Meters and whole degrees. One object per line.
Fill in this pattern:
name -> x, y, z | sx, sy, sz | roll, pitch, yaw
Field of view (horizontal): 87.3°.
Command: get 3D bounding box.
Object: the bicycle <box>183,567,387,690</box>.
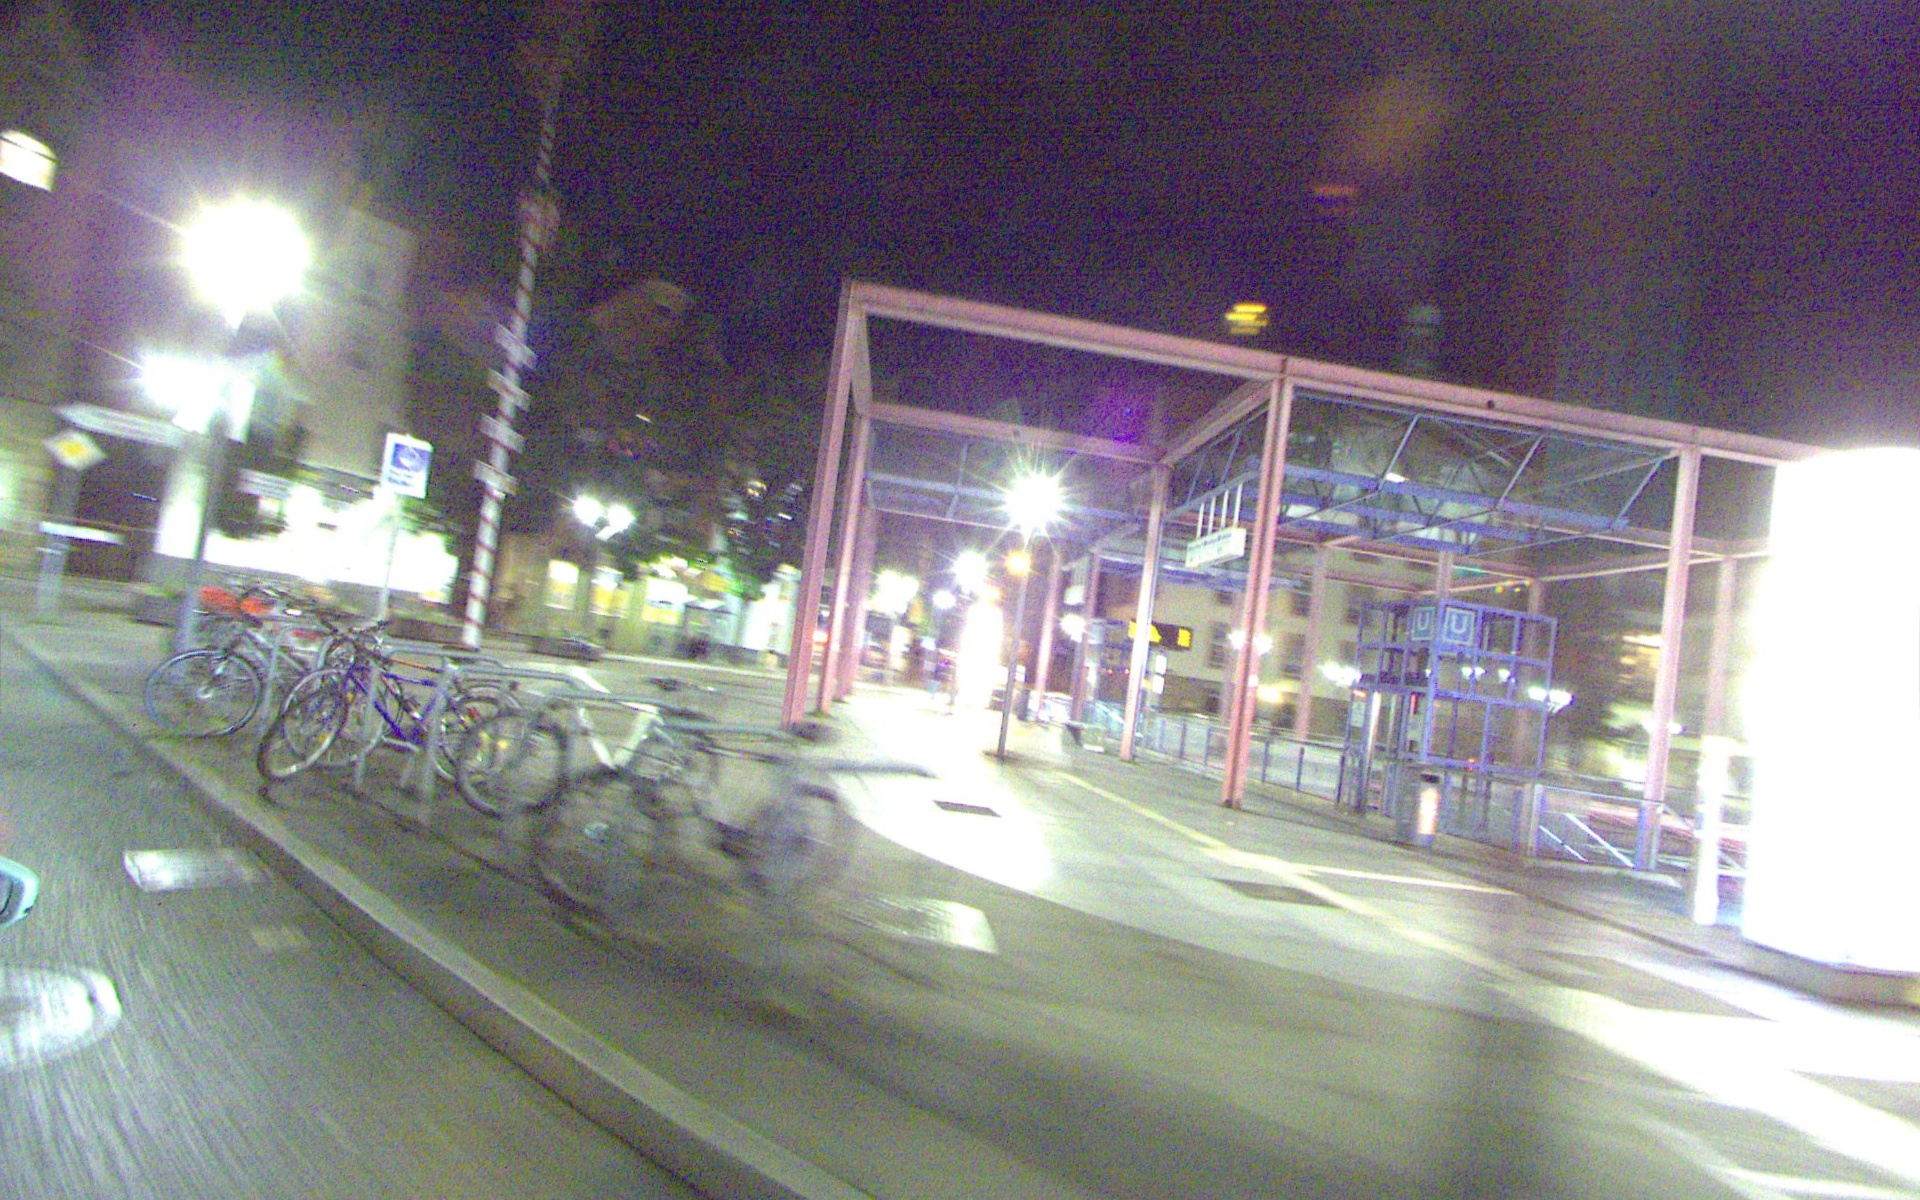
bicycle -> -7.818, 0.355, 11.716 | 0.575, 1.163, 1.770 | 6, -4, 44

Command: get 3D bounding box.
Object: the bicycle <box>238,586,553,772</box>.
bicycle -> -4.057, 0.626, 7.383 | 0.620, 1.146, 1.790 | 6, -4, 38

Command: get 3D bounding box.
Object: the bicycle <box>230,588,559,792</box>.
bicycle -> -3.675, 0.638, 6.666 | 0.633, 1.146, 1.655 | 6, -4, 39

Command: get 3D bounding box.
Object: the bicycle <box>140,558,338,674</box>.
bicycle -> -8.909, 0.228, 12.504 | 0.605, 1.163, 1.774 | 6, -4, 38

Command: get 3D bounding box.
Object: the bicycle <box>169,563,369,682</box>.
bicycle -> -8.305, 0.302, 12.165 | 0.574, 1.163, 1.774 | 6, -4, 38

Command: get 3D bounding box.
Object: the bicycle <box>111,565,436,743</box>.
bicycle -> -5.336, 0.471, 7.946 | 0.714, 1.146, 1.867 | 6, -4, 38

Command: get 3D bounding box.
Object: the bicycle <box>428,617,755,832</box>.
bicycle -> -2.315, 0.829, 6.540 | 0.677, 1.153, 1.770 | 6, -4, 39

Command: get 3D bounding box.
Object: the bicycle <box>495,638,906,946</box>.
bicycle -> -1.188, 0.895, 4.918 | 0.816, 1.153, 1.656 | 6, -4, 39

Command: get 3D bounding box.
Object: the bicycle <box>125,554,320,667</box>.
bicycle -> -9.496, 0.164, 13.019 | 0.749, 1.163, 1.784 | 6, -4, 38

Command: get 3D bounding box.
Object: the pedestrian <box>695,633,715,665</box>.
pedestrian -> -11.235, 2.144, 44.276 | 0.508, 1.313, 0.464 | 6, -3, 43

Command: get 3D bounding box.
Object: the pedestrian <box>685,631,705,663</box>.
pedestrian -> -11.557, 2.069, 43.930 | 0.508, 1.313, 0.464 | 6, -3, 43

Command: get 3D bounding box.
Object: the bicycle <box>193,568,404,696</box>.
bicycle -> -7.369, 0.385, 11.276 | 0.575, 1.163, 1.770 | 6, -4, 44
